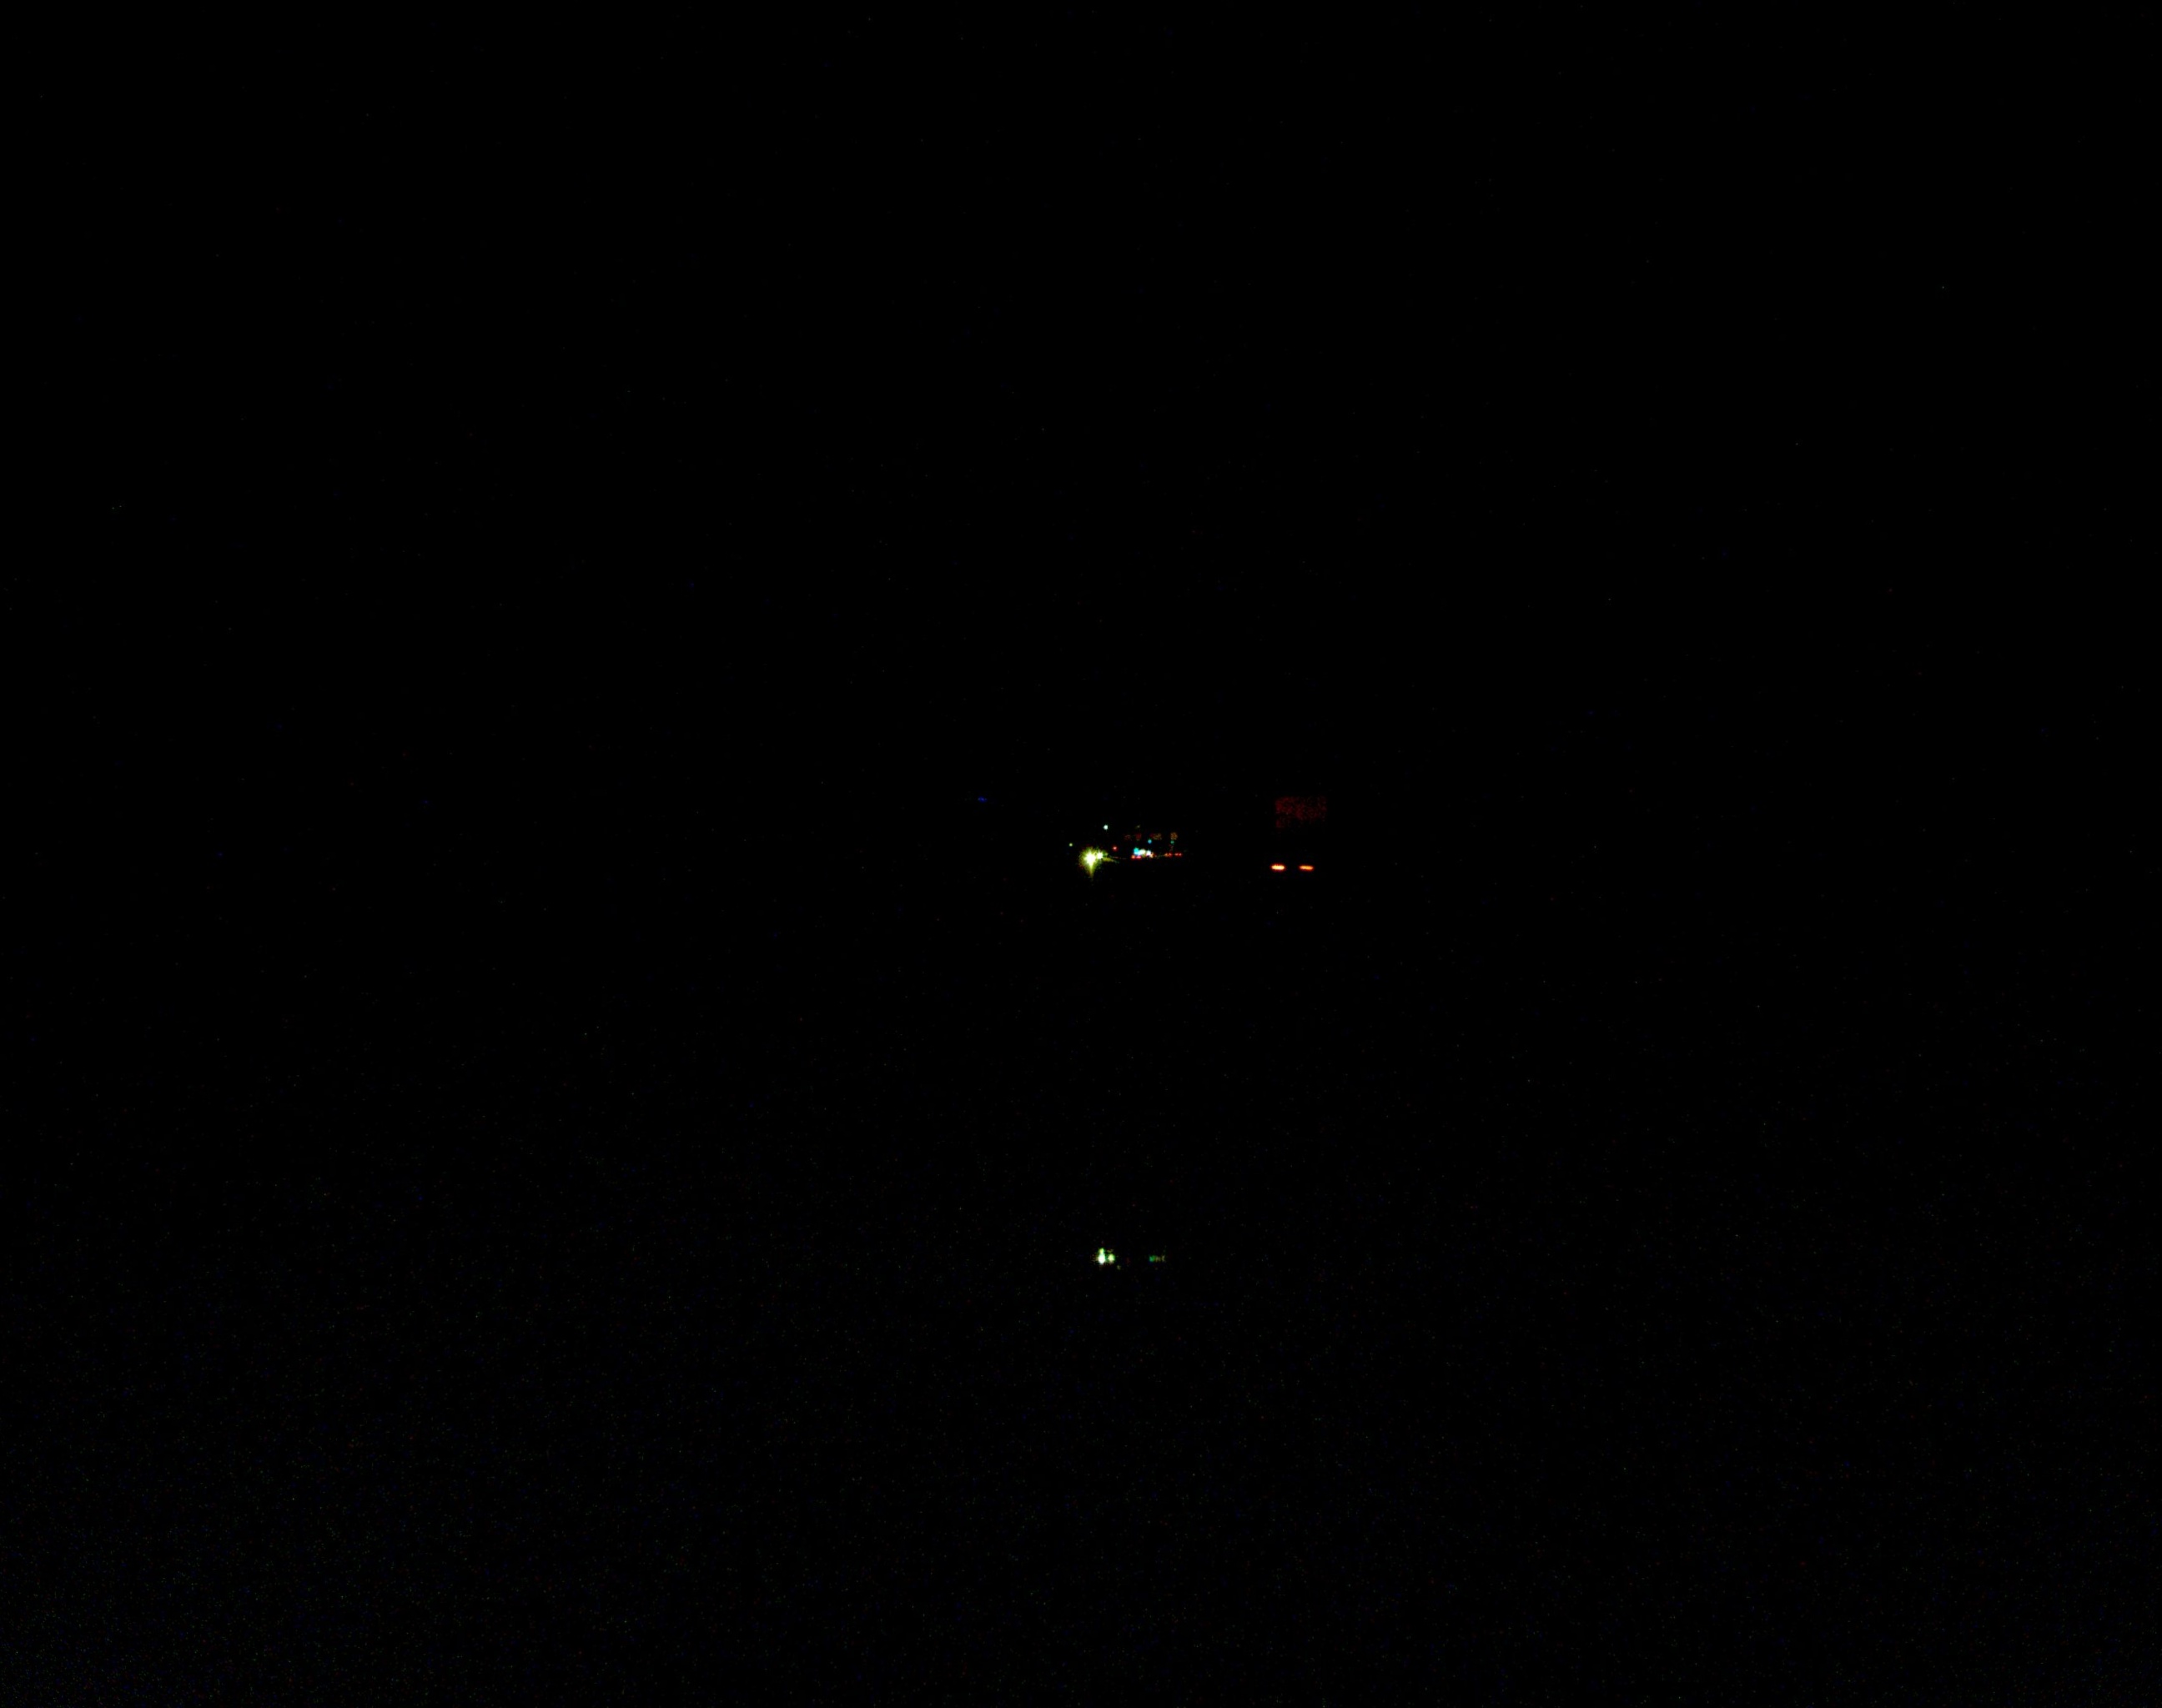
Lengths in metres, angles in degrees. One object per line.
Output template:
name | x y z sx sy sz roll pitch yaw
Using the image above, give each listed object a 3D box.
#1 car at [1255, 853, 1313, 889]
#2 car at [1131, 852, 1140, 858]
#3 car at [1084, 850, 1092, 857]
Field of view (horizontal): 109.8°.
car | 9.769 0.775 36.817 1.687 1.578 4.166 -2 0 1
car | 12.814 0.178 178.770 1.724 1.399 4.574 -2 1 1
car | 1.358 -0.075 151.980 1.570 1.336 4.166 -2 0 1
